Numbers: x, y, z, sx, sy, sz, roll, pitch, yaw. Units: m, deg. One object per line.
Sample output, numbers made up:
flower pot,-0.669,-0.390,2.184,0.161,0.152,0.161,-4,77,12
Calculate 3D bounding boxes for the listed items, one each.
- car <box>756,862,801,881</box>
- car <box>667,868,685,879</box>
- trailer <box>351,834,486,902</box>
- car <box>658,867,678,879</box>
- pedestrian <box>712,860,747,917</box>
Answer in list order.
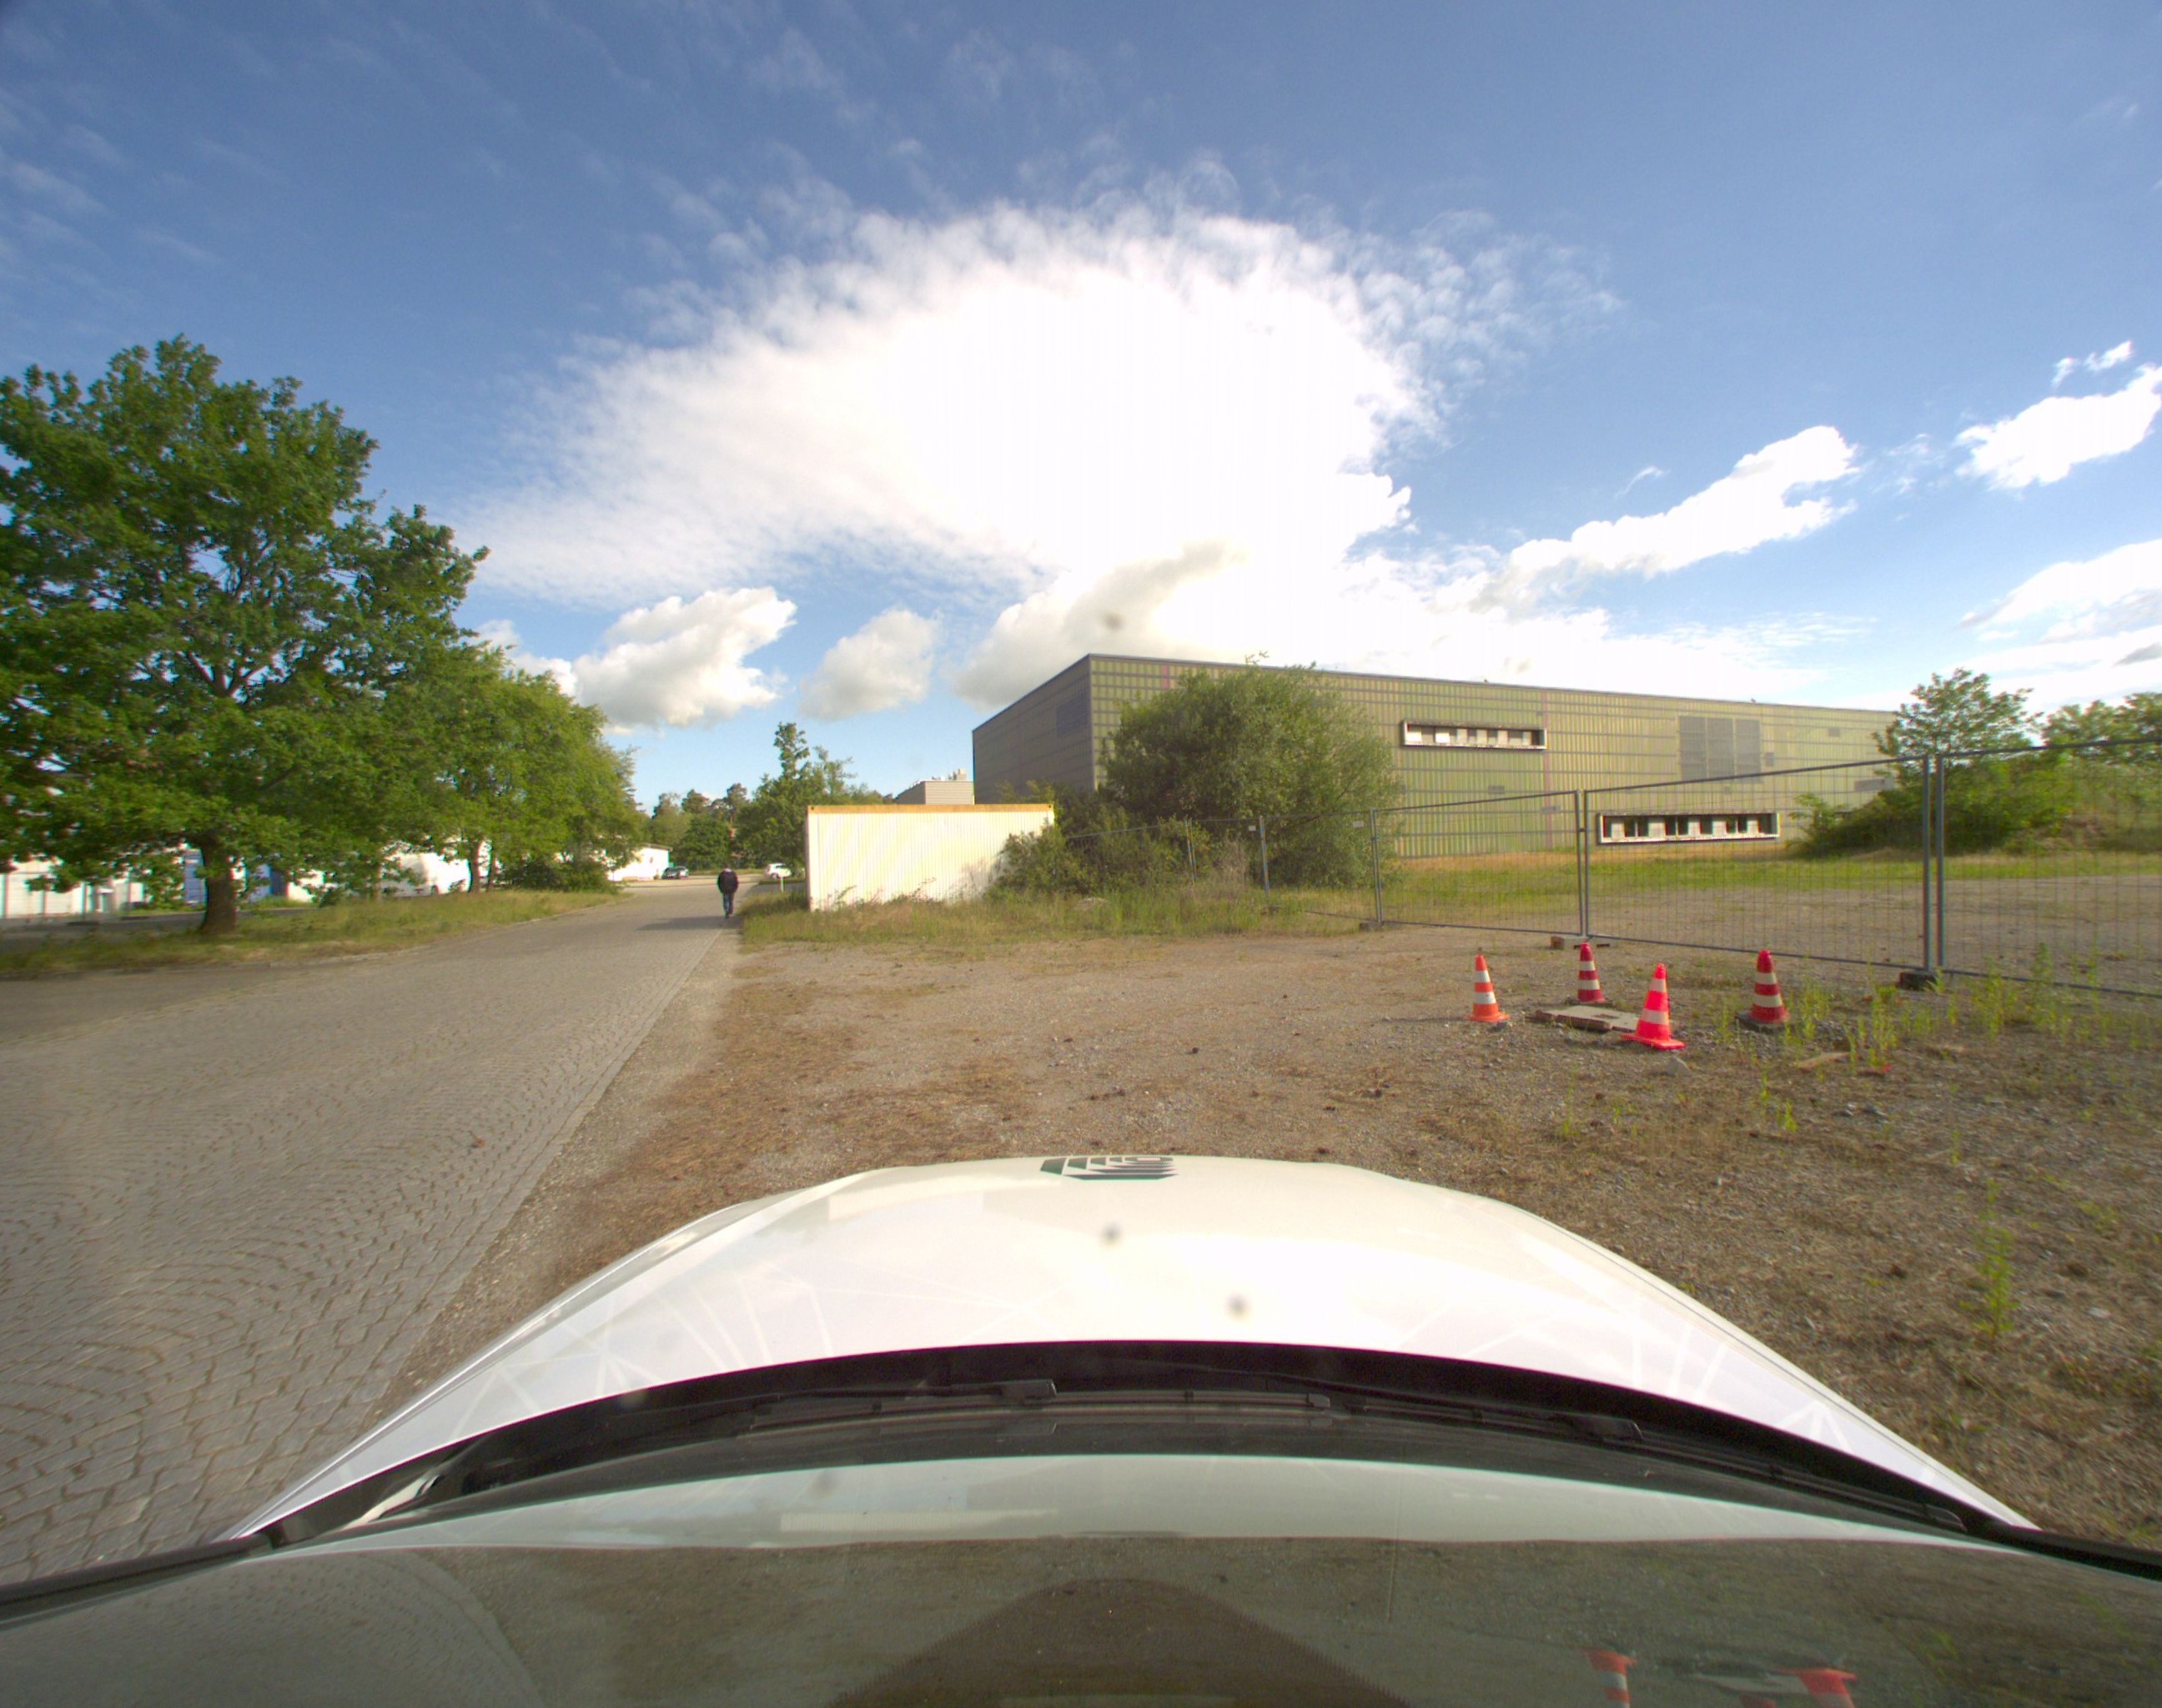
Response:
car,-29.994,1.723,80.952,3.996,1.643,1.989,-2,0,-17
car,-53.770,2.537,108.072,2.005,1.376,3.964,-2,0,-28
trailer,-38.450,0.766,47.794,2.927,3.471,9.835,-2,0,-20
car,-50.013,2.237,98.589,2.005,1.371,3.964,-2,0,-28
pedestrian,-10.169,0.975,23.528,0.869,1.559,1.019,-2,0,-26
